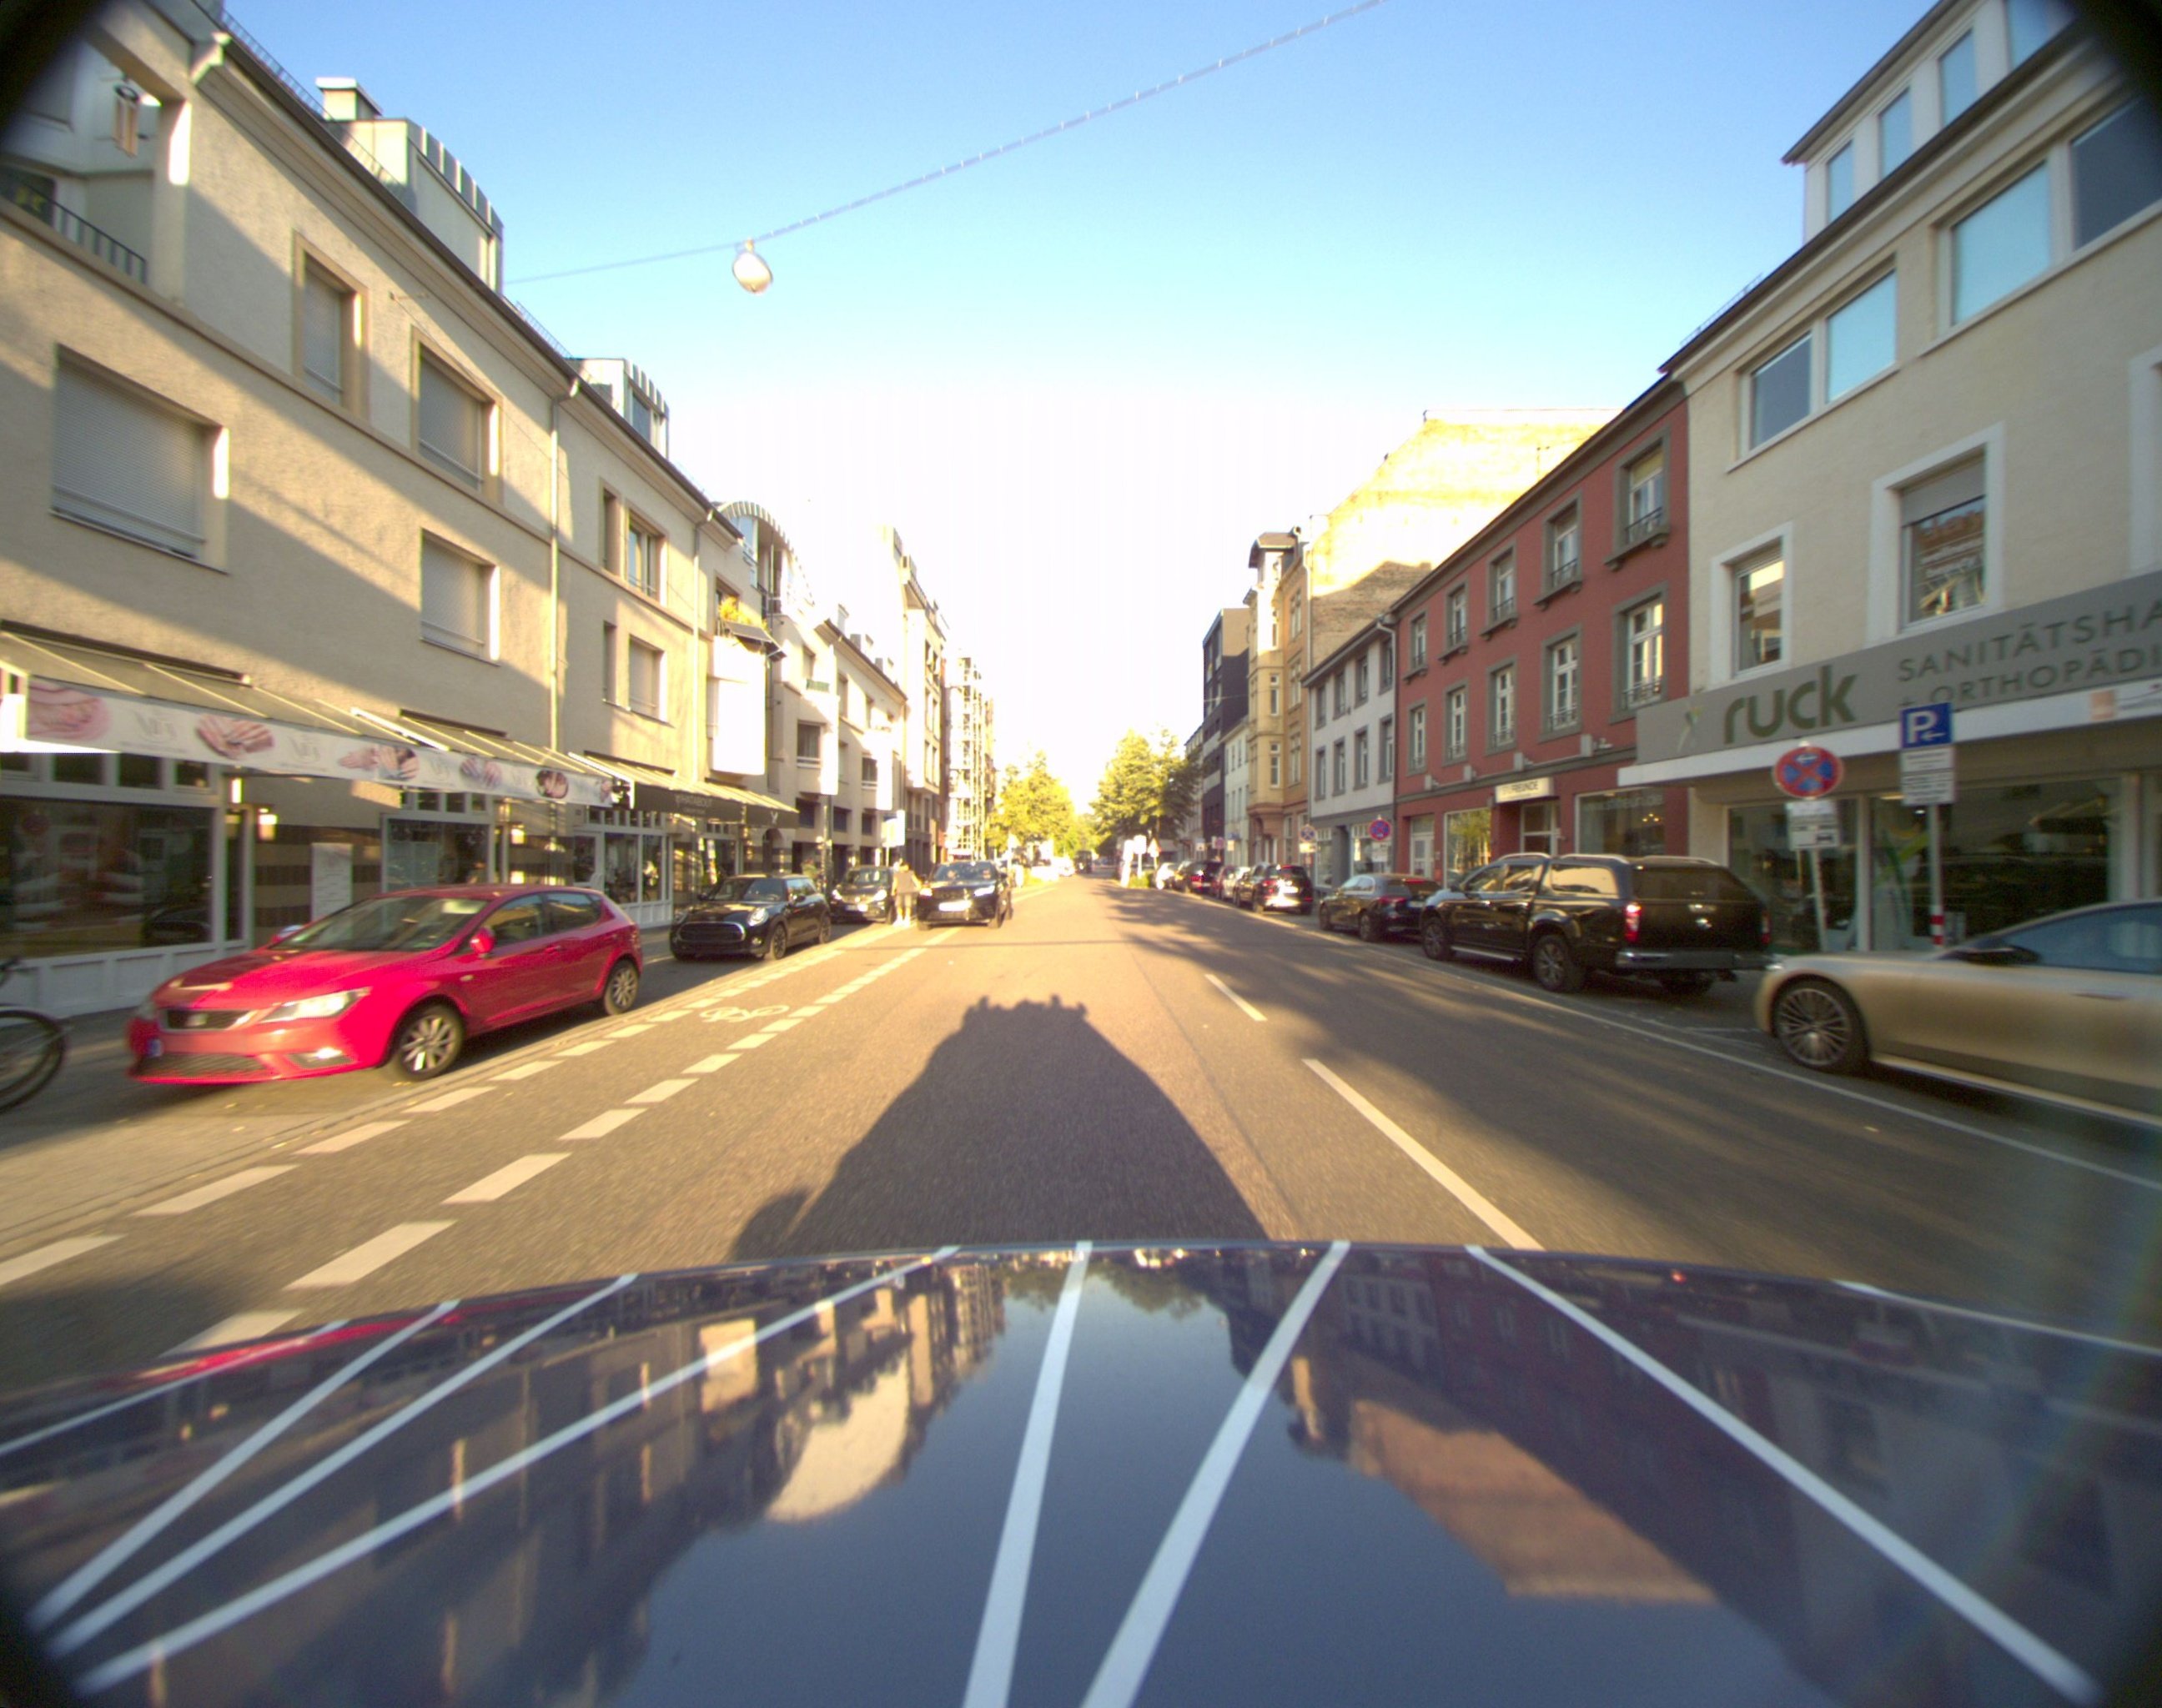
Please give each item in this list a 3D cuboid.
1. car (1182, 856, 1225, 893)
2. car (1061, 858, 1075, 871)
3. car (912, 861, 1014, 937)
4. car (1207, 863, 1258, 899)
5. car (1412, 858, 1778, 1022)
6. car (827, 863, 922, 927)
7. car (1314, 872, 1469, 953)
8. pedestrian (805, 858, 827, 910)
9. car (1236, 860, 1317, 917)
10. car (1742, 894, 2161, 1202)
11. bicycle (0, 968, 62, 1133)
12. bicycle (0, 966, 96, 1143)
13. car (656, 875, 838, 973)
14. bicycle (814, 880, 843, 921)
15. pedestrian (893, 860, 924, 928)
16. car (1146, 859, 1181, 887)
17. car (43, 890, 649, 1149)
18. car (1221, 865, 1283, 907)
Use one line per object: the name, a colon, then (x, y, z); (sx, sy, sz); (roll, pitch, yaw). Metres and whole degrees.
car: (6.193, 1.006, 38.714); (1.673, 1.764, 3.565); (2, 0, 2)
car: (-1.536, 1.295, 91.213); (1.622, 1.465, 3.688); (-2, 0, 0)
car: (-2.852, 1.036, 19.248); (1.890, 1.626, 4.227); (-1, 0, 0)
car: (6.886, 1.203, 34.781); (1.673, 1.449, 3.565); (2, 0, 2)
car: (6.742, 0.966, 10.837); (1.725, 1.768, 4.938); (1, 0, -2)
car: (-5.685, 1.083, 21.365); (1.621, 1.583, 3.925); (0, 0, -1)
car: (6.718, 1.202, 16.932); (1.705, 1.429, 4.014); (2, 0, -1)
pedestrian: (-9.237, 1.046, 26.500); (0.575, 1.789, 0.451); (-1, 1, 42)
car: (6.484, 1.085, 25.672); (1.724, 1.673, 4.050); (2, 0, 2)
car: (6.557, 1.081, 3.871); (1.998, 1.464, 5.108); (2, 0, 2)
bicycle: (-7.327, 1.326, 4.375); (0.315, 1.040, 1.882); (1, 0, 3)
bicycle: (-6.981, 1.300, 4.405); (0.315, 1.040, 1.665); (1, 0, 3)
car: (-5.817, 1.144, 13.771); (1.621, 1.425, 3.925); (0, 0, -1)
bicycle: (-7.215, 1.322, 21.745); (0.296, 1.079, 1.463); (-1, 0, 1)
pedestrian: (-4.478, 1.022, 19.736); (0.631, 1.739, 0.670); (1, 1, -1)
car: (4.932, 1.117, 45.877); (1.673, 1.512, 3.564); (2, 0, -1)
car: (-5.723, 1.138, 6.731); (1.593, 1.425, 3.925); (1, 0, -1)
car: (6.711, 1.218, 30.198); (1.689, 1.461, 3.691); (2, 0, 2)
